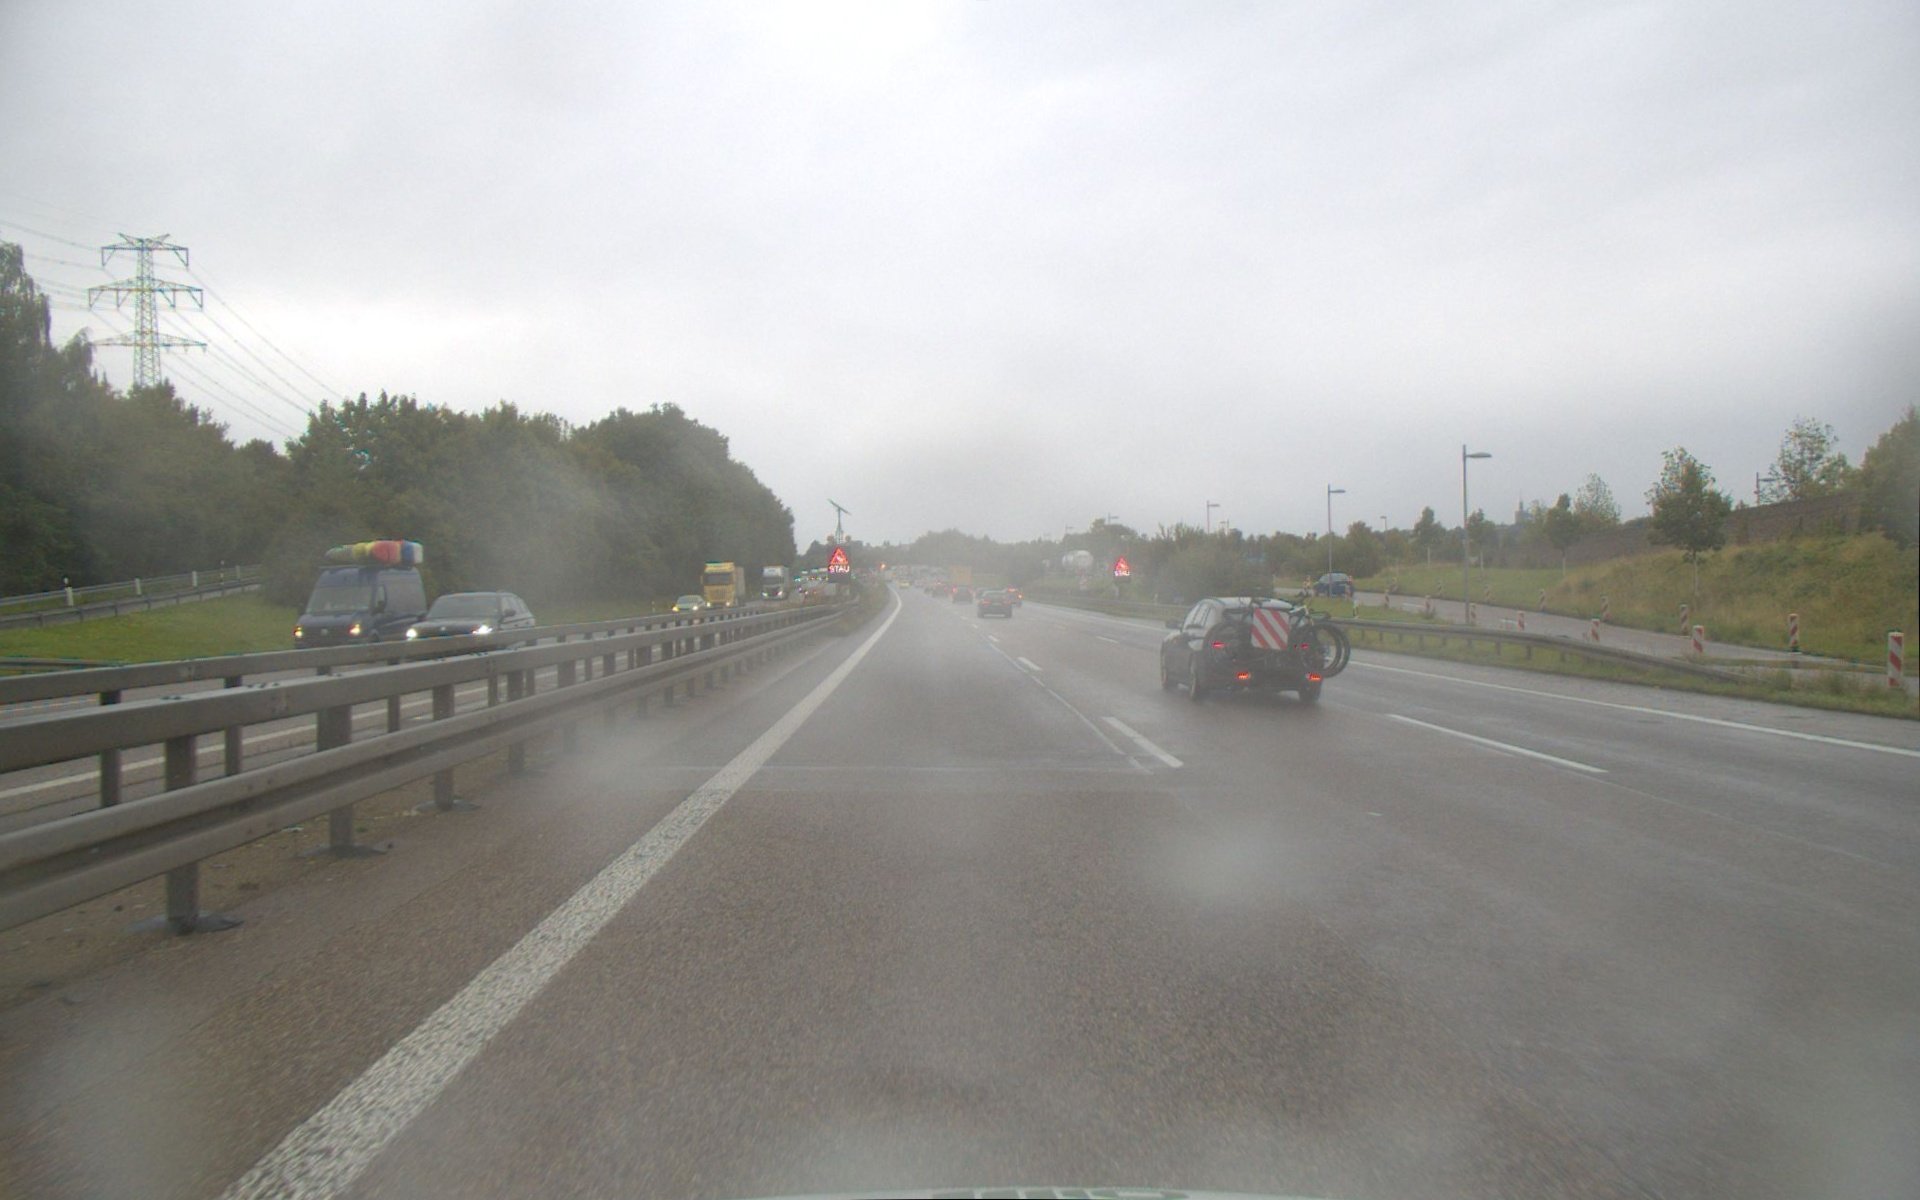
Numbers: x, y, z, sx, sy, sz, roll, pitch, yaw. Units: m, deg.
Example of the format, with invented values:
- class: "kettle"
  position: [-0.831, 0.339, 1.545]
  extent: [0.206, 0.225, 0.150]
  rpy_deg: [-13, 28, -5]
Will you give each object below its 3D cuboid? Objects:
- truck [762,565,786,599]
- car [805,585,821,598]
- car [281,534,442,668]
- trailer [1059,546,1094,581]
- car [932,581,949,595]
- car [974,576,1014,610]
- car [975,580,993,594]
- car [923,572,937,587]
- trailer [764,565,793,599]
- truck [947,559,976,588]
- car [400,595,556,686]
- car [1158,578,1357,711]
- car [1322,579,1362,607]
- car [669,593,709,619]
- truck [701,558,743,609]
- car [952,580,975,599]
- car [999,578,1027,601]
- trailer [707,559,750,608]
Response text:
- class: "truck"
  position: [-23.579, -2.282, 209.496]
  extent: [2.590, 4.311, 3.999]
  rpy_deg: [-1, 1, -2]
- class: "car"
  position: [-19.076, -1.117, 214.890]
  extent: [1.837, 1.519, 4.513]
  rpy_deg: [-2, 0, -2]
- class: "car"
  position: [-16.430, 0.008, 45.818]
  extent: [2.208, 3.385, 6.174]
  rpy_deg: [-2, 0, -1]
- class: "trailer"
  position: [14.559, -4.504, 207.464]
  extent: [2.925, 4.228, 12.951]
  rpy_deg: [-1, 1, -2]
- class: "car"
  position: [-2.412, -1.493, 200.008]
  extent: [1.953, 1.657, 3.999]
  rpy_deg: [-1, 1, -2]
- class: "car"
  position: [1.837, -0.416, 90.606]
  extent: [1.953, 1.791, 3.998]
  rpy_deg: [-1, 1, -2]
- class: "car"
  position: [2.837, -1.587, 198.036]
  extent: [1.953, 1.657, 3.999]
  rpy_deg: [-1, 1, -2]
- class: "car"
  position: [-4.569, -3.111, 250.875]
  extent: [1.953, 2.243, 3.998]
  rpy_deg: [-1, 1, -2]
- class: "trailer"
  position: [-23.794, -2.383, 217.225]
  extent: [2.590, 4.311, 13.907]
  rpy_deg: [-1, 1, -2]
- class: "truck"
  position: [0.147, -3.912, 244.398]
  extent: [3.845, 4.051, 12.235]
  rpy_deg: [-1, 1, -2]
- class: "car"
  position: [-9.979, 0.775, 34.607]
  extent: [1.885, 1.685, 4.789]
  rpy_deg: [-2, 0, -1]
- class: "car"
  position: [4.162, 0.593, 24.079]
  extent: [2.015, 1.700, 5.522]
  rpy_deg: [0, 0, 1]
- class: "car"
  position: [24.316, -0.469, 105.392]
  extent: [1.882, 1.739, 4.002]
  rpy_deg: [-1, 0, 4]
- class: "car"
  position: [-17.144, 0.383, 104.922]
  extent: [1.837, 1.519, 4.513]
  rpy_deg: [-2, 0, -2]
- class: "truck"
  position: [-20.460, -1.419, 142.385]
  extent: [2.706, 4.126, 6.154]
  rpy_deg: [-2, 1, -2]
- class: "car"
  position: [0.326, -1.013, 154.639]
  extent: [1.953, 1.657, 3.999]
  rpy_deg: [-1, 1, -2]
- class: "car"
  position: [4.362, -0.875, 136.760]
  extent: [1.953, 1.791, 3.998]
  rpy_deg: [2, 1, -2]
- class: "trailer"
  position: [-20.630, -1.489, 147.701]
  extent: [2.706, 4.126, 9.197]
  rpy_deg: [-2, 1, -2]
